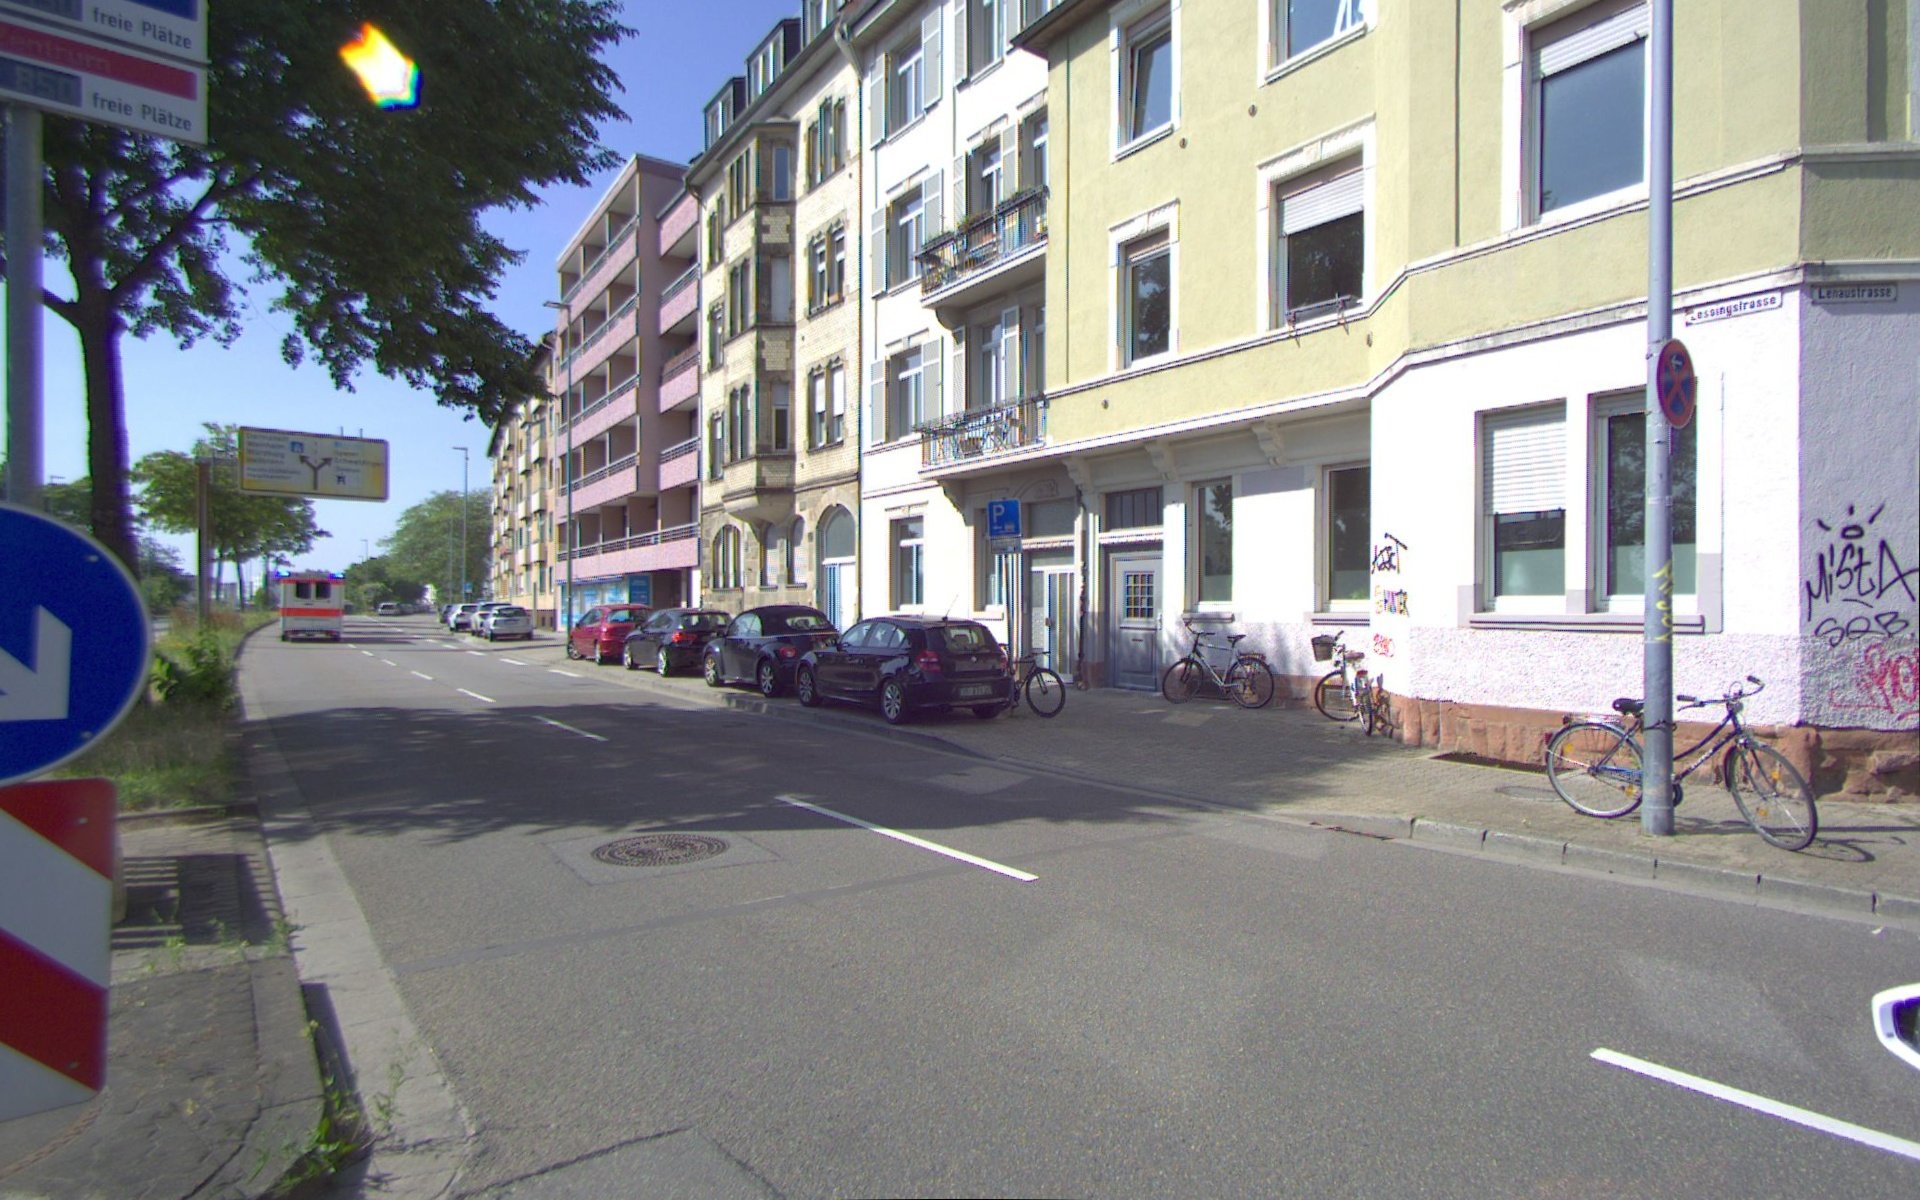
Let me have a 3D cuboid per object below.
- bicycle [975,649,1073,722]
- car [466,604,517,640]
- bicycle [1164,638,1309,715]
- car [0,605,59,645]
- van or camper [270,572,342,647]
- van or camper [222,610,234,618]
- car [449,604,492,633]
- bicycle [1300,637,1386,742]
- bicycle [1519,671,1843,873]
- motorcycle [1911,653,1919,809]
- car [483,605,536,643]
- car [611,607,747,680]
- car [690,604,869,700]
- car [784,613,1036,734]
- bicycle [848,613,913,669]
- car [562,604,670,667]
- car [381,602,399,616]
[{"bbox_3d":[0.891,1.192,14.304,0.445,0.903,1.563,-1,1,-38],"label":"bicycle"},{"bbox_3d":[-21.489,0.964,45.996,1.722,1.562,4.317,0,0,-31],"label":"car"},{"bbox_3d":[3.952,1.067,14.521,0.604,0.958,2.092,-2,1,-37],"label":"bicycle"},{"bbox_3d":[-39.473,1.007,41.940,1.979,1.549,4.655,-2,1,-33],"label":"car"},{"bbox_3d":[-26.672,0.394,40.867,2.281,2.826,5.515,0,0,-35],"label":"van or camper"},{"bbox_3d":[-130.165,2.565,178.578,1.456,1.368,4.588,1,-1,-33],"label":"van or camper"},{"bbox_3d":[-26.550,0.990,54.423,1.742,1.526,4.093,2,-1,-31],"label":"car"},{"bbox_3d":[4.525,1.017,11.973,0.527,1.060,1.828,-1,1,7],"label":"bicycle"},{"bbox_3d":[4.851,1.089,6.865,0.574,1.102,1.715,0,0,-39],"label":"bicycle"},{"bbox_3d":[8.023,0.973,7.221,1.729,1.165,0.474,-1,1,12],"label":"motorcycle"},{"bbox_3d":[-18.852,0.957,41.958,1.664,1.428,3.403,-2,1,-30],"label":"car"},{"bbox_3d":[-6.362,0.906,22.464,1.632,1.472,4.084,0,0,-36],"label":"car"},{"bbox_3d":[-3.389,0.857,18.285,1.632,1.521,3.969,-1,0,-36],"label":"car"},{"bbox_3d":[-0.866,0.943,14.585,1.729,1.435,4.039,-1,0,-36],"label":"car"},{"bbox_3d":[-1.788,0.894,22.463,0.651,1.162,1.609,-2,1,-37],"label":"bicycle"},{"bbox_3d":[-9.220,0.876,26.742,1.772,1.502,3.963,-1,0,-33],"label":"car"},{"bbox_3d":[-64.797,1.031,114.172,1.604,1.525,3.438,2,-1,-27],"label":"car"}]
